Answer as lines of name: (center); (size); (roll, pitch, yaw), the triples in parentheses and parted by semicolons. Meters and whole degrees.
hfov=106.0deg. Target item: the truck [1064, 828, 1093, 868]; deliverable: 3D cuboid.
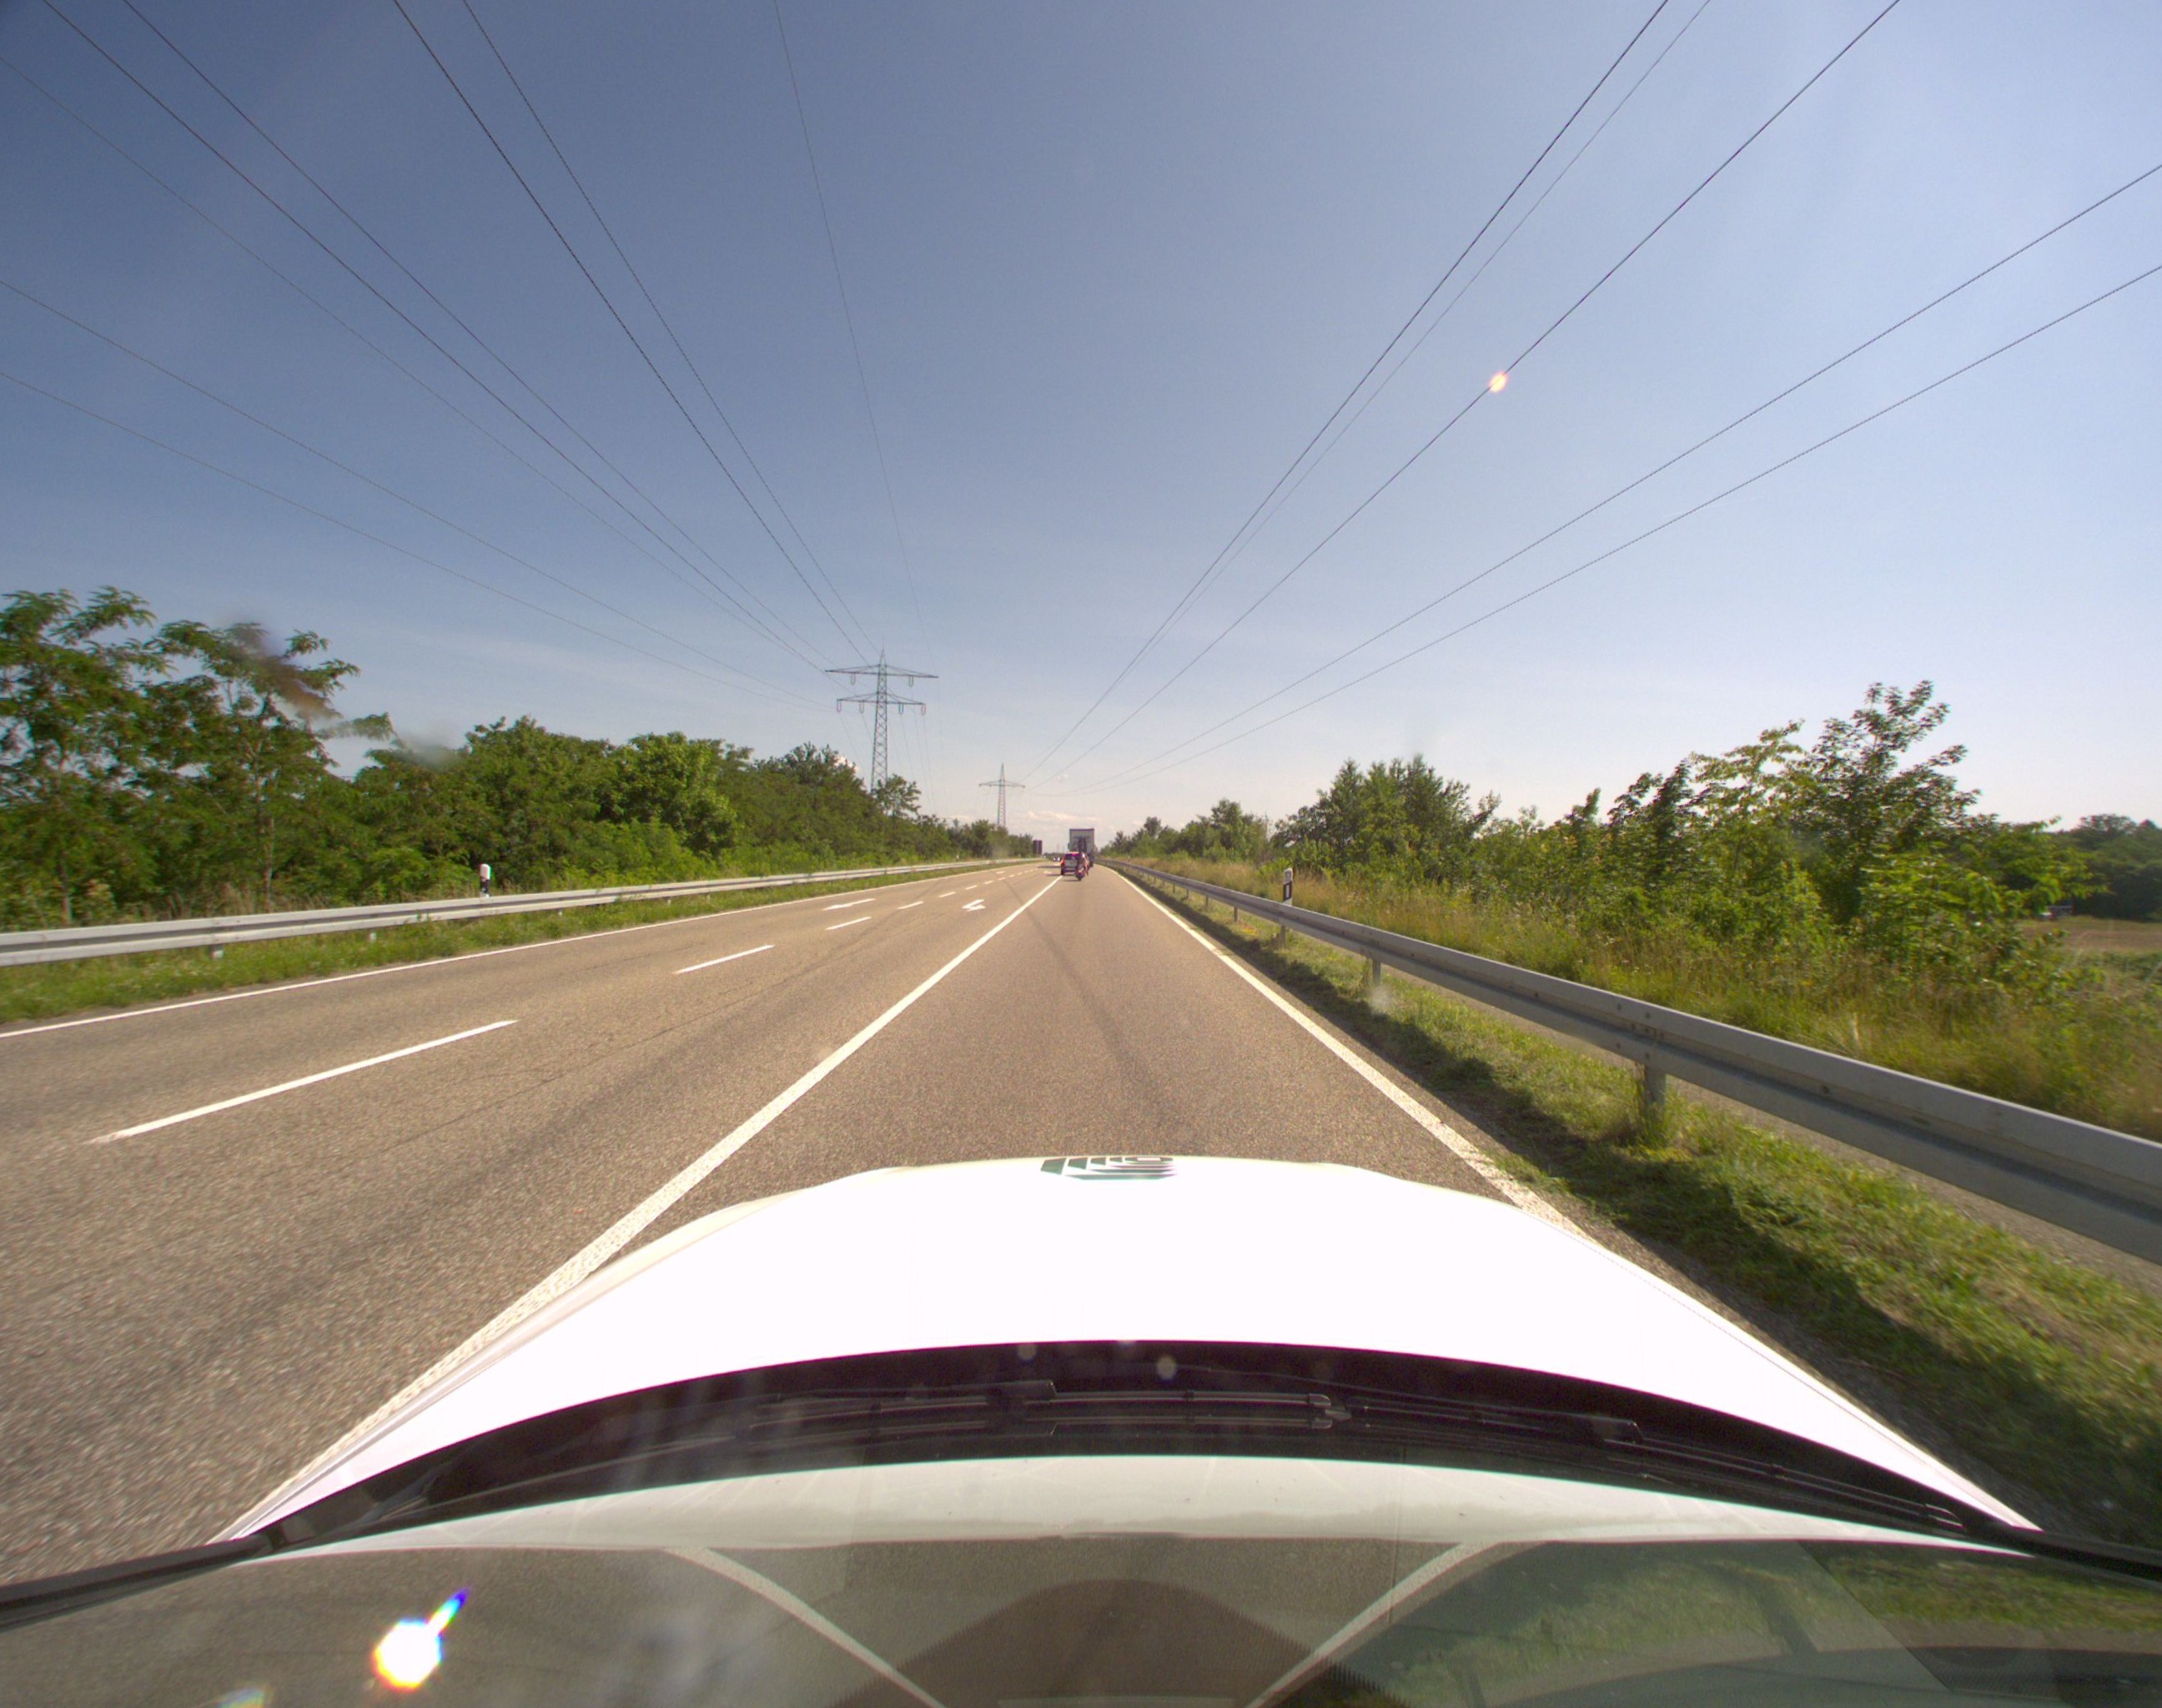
truck: (-0.199, -0.618, 91.306); (2.958, 4.187, 14.820); (0, 0, 0)

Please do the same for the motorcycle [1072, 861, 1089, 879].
motorcycle: (-0.035, 0.863, 44.109); (0.857, 0.915, 2.225); (0, 0, -3)

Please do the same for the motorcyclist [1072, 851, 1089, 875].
motorcyclist: (-0.034, 0.470, 44.172); (0.835, 1.280, 0.918); (0, 0, -3)

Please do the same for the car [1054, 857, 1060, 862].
car: (-6.709, 1.535, 228.580); (1.722, 1.491, 4.420); (0, 0, -1)

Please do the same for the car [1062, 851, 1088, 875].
car: (-0.430, 0.578, 54.790); (1.696, 1.536, 3.498); (0, 0, -1)
